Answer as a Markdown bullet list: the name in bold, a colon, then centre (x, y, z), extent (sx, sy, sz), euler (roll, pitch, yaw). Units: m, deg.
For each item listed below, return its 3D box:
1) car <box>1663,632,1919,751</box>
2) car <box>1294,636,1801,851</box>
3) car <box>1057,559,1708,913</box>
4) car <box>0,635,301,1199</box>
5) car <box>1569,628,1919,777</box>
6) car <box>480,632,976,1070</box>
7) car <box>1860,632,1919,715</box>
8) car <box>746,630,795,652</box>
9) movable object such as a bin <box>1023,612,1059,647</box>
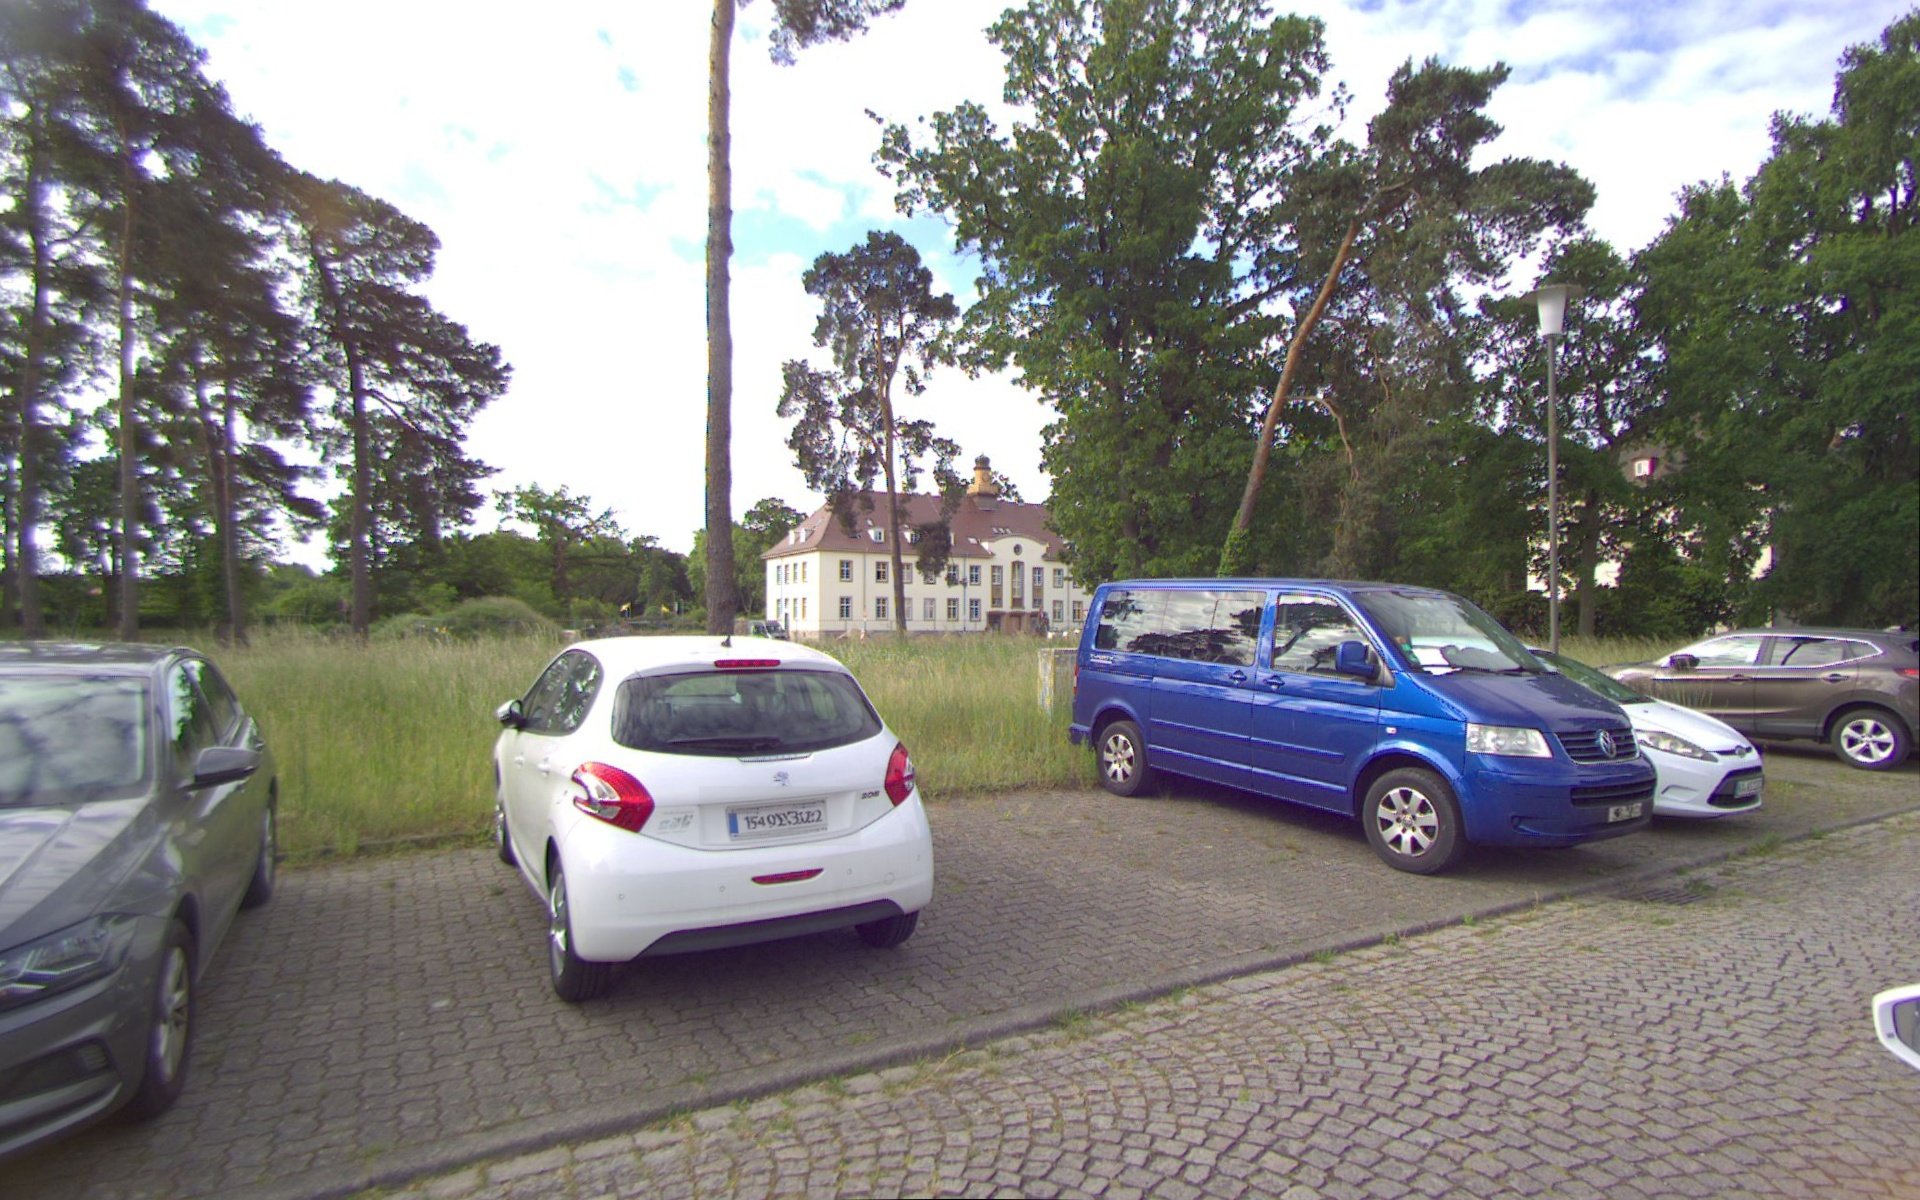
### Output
- **car**: centre (12.677, 1.240, 14.498), extent (1.741, 1.506, 3.798), euler (1, -1, -30)
- **car**: centre (5.232, 1.124, 9.438), extent (1.707, 1.513, 3.773), euler (1, -1, -32)
- **car**: centre (2.980, 0.821, 8.253), extent (2.014, 2.007, 4.686), euler (1, -1, -31)
- **car**: centre (-3.921, 0.925, 4.064), extent (1.709, 1.500, 4.287), euler (1, -1, -28)
- **car**: centre (10.422, 1.169, 12.894), extent (1.932, 1.596, 4.047), euler (1, -1, -31)
- **car**: centre (-1.666, 0.973, 5.827), extent (1.820, 1.521, 3.989), euler (1, -1, -28)
- **car**: centre (19.108, 1.365, 18.235), extent (1.767, 1.509, 3.797), euler (1, -1, -31)
- **car**: centre (-18.931, 4.071, 100.098), extent (2.351, 2.143, 5.760), euler (3, -3, -39)
- **movable object such as a bin**: centre (8.874, 3.242, 110.402), extent (2.105, 3.689, 6.122), euler (2, -3, -13)
